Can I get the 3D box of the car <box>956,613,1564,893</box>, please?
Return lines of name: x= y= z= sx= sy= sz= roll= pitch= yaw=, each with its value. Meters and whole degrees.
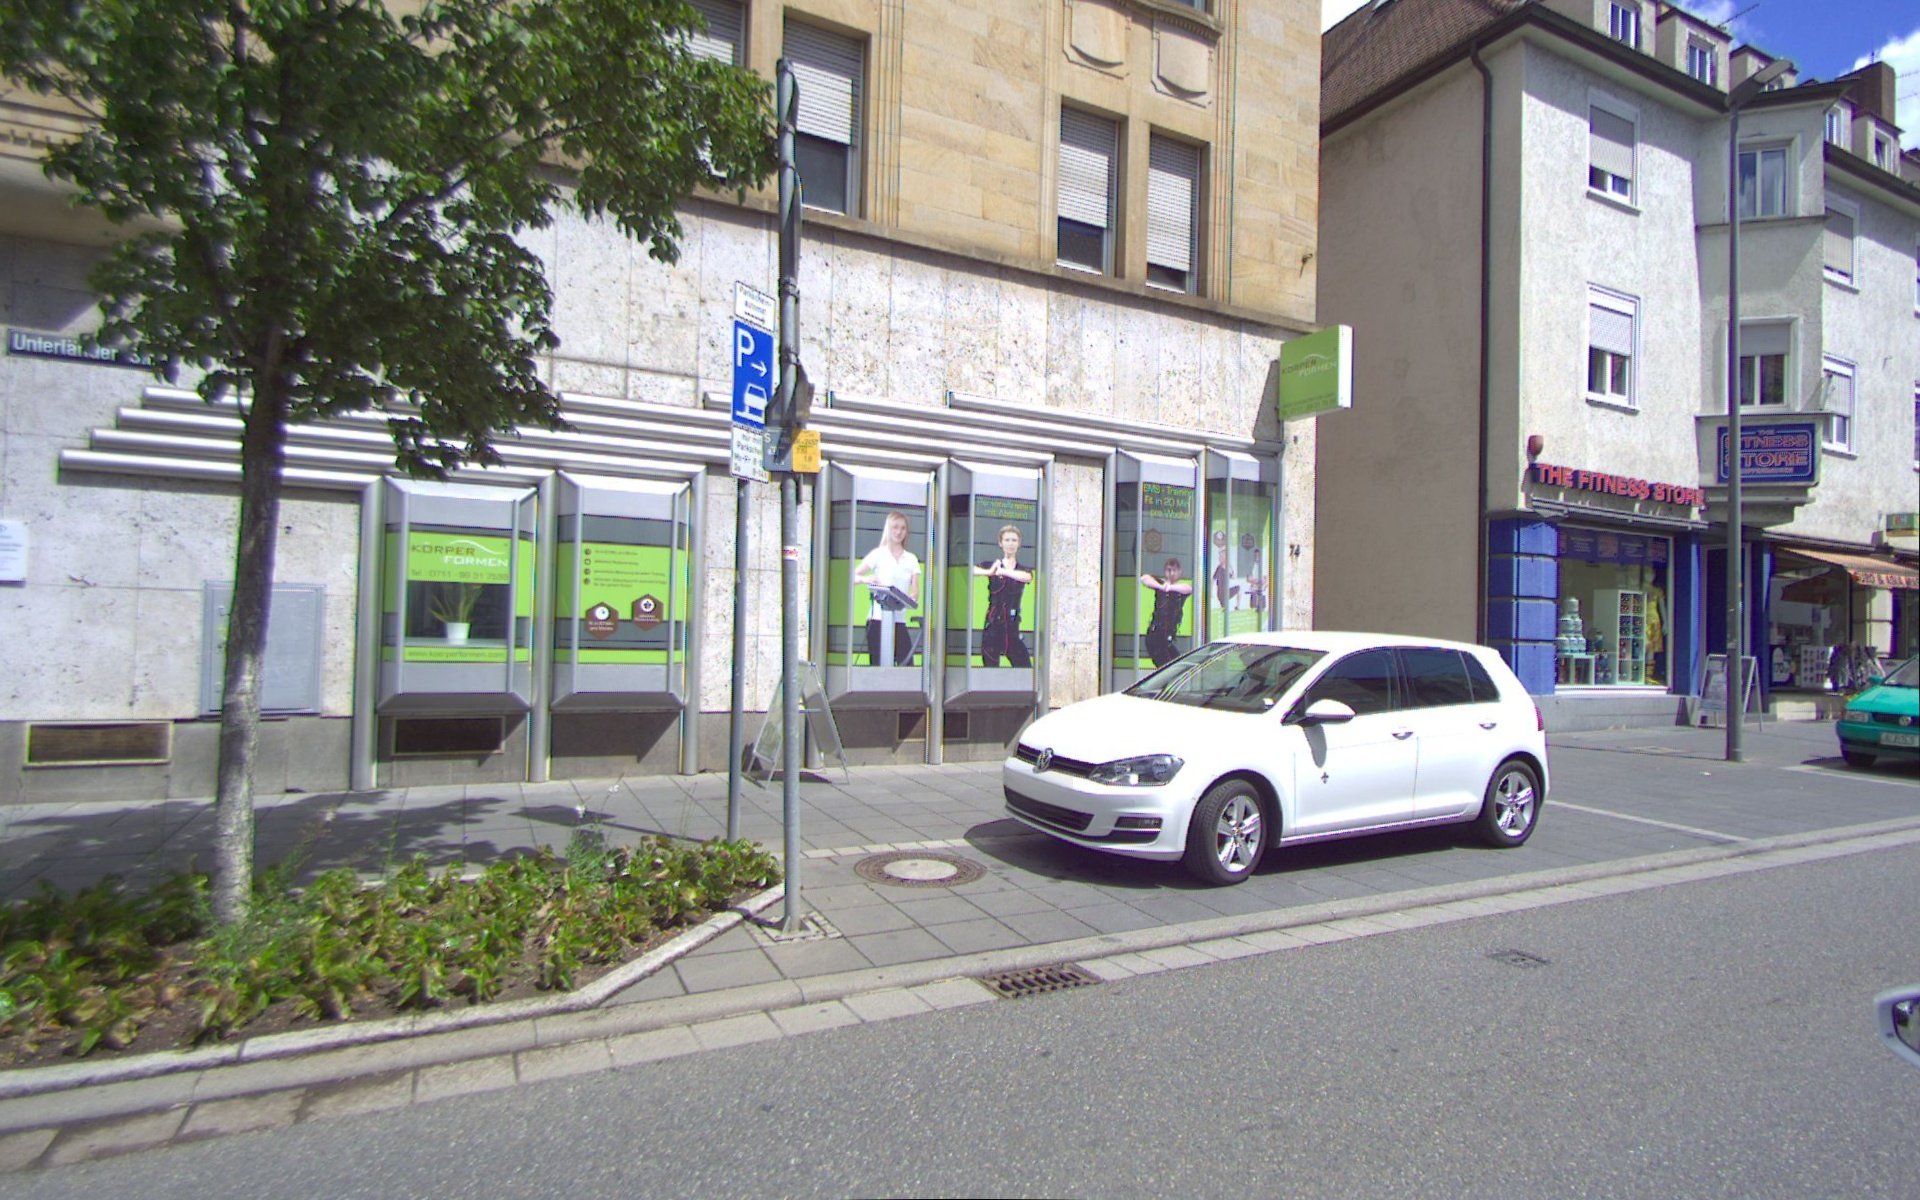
car: x=2.169 y=0.895 z=7.065 sx=3.989 sy=1.416 sz=1.837 roll=3 pitch=0 yaw=-30

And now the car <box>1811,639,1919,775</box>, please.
car: x=12.012 y=1.267 z=11.902 sx=3.620 sy=1.433 sz=1.581 roll=3 pitch=0 yaw=-26
